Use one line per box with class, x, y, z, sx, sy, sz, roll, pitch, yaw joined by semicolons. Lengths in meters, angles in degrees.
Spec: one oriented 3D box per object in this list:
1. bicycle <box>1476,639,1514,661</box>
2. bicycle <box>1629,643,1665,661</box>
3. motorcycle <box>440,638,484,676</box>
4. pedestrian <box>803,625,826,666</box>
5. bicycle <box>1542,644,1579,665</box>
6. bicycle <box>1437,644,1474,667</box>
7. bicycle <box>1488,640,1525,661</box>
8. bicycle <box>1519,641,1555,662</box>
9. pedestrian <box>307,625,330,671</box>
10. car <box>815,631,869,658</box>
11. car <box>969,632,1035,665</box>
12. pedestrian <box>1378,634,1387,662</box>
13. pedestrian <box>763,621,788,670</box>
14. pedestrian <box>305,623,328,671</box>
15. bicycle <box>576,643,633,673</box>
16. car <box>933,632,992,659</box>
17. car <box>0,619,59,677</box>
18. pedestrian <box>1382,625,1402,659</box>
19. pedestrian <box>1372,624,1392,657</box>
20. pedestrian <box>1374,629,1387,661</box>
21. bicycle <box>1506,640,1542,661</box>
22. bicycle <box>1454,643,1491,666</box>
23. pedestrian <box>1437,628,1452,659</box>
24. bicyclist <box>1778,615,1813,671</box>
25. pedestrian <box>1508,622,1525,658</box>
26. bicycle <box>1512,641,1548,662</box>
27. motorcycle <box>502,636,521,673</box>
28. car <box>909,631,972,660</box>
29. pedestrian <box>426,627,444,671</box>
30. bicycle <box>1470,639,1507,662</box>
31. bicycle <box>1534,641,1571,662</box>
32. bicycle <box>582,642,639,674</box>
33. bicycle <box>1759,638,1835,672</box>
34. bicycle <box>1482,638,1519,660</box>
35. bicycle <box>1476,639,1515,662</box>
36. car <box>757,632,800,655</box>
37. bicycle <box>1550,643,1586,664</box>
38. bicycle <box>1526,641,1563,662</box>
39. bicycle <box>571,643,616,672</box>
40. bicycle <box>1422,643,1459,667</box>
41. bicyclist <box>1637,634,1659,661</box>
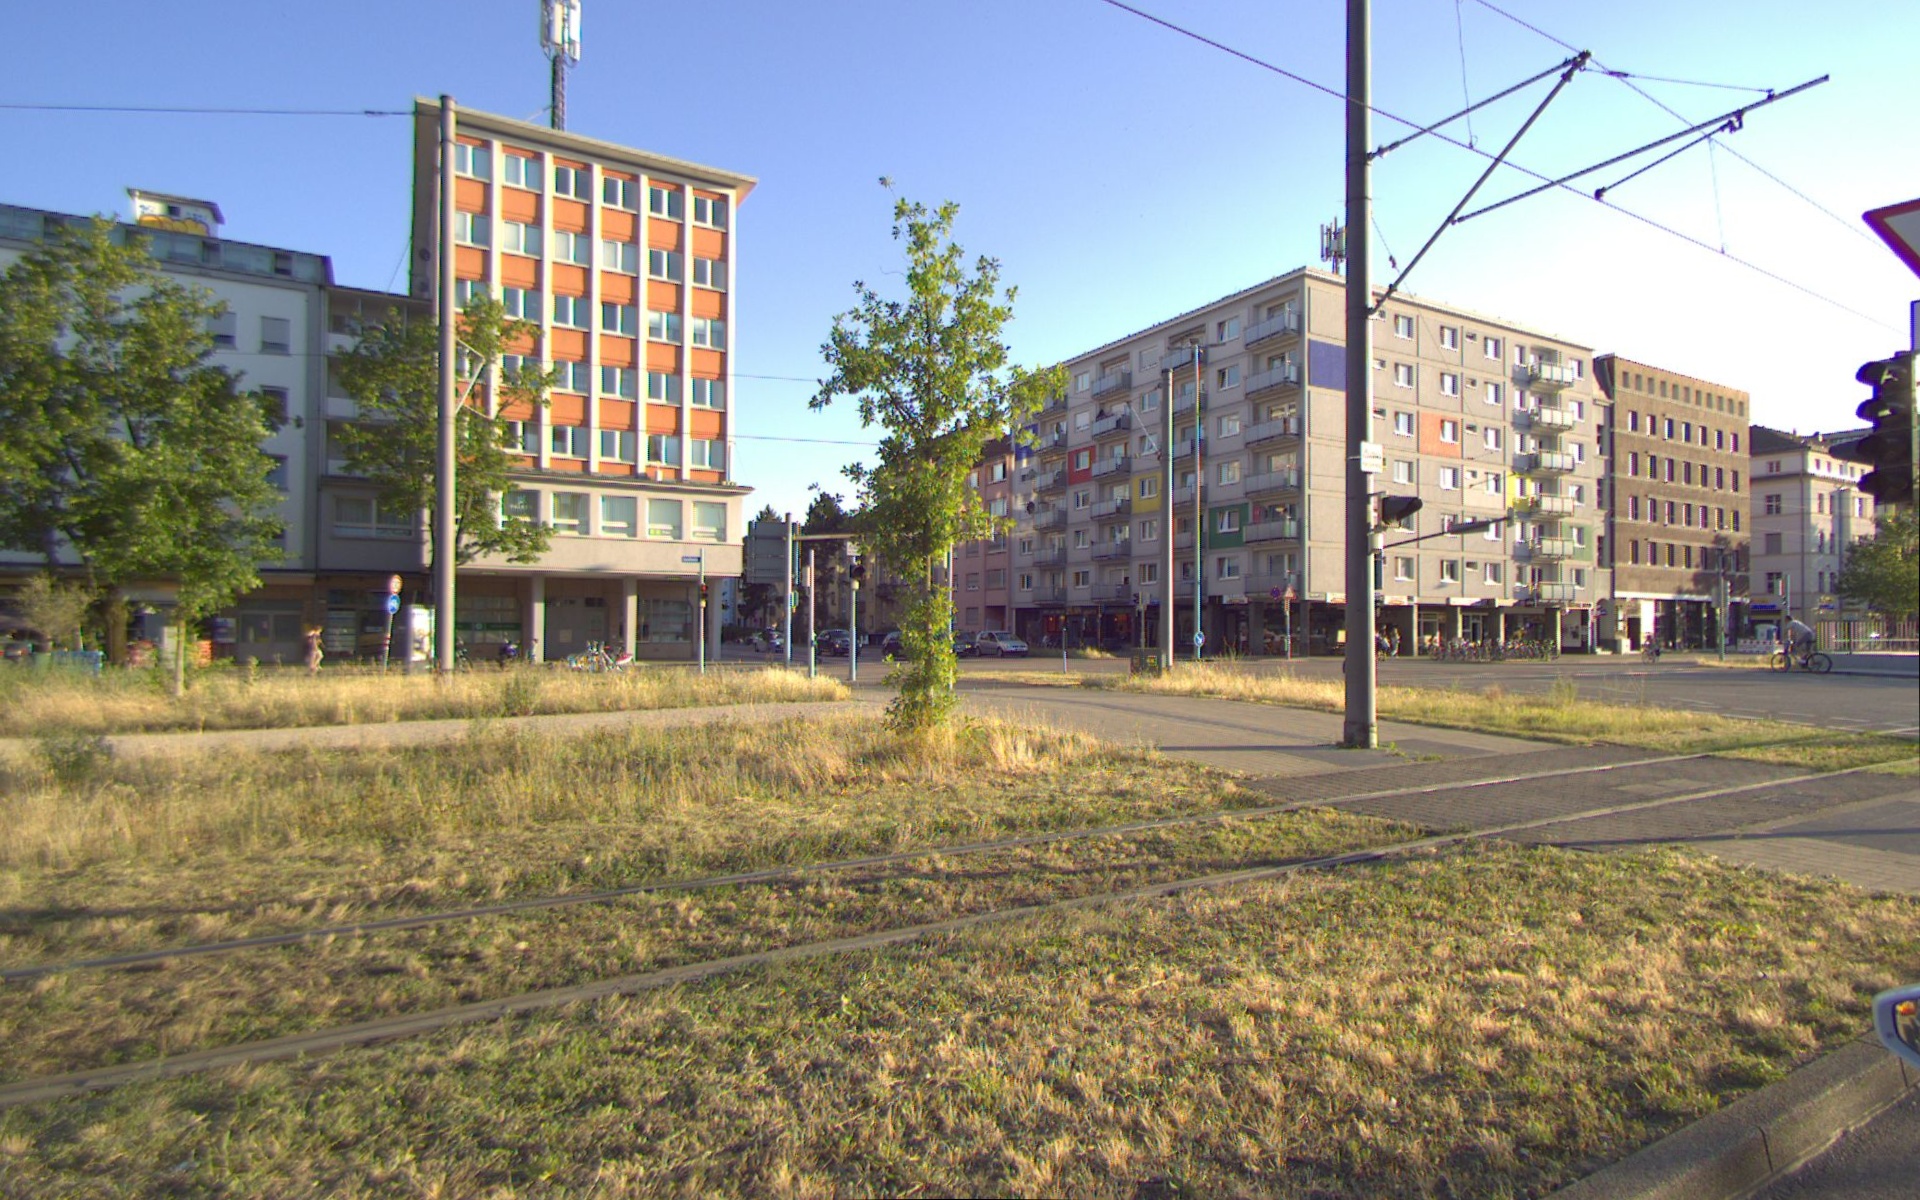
bicycle;29.675;2.742;55.775;0.632;1.176;1.823;1;-2;-29
bicycle;37.054;2.814;54.169;1.636;0.957;0.509;0;-1;-4
motorcycle;-17.791;2.023;35.869;1.373;1.335;0.378;1;-1;-28
pedestrian;-6.727;2.090;46.481;0.879;1.855;0.885;1;-1;-20
bicycle;34.548;3.136;57.816;0.739;1.185;1.684;1;-1;-28
bicycle;26.814;3.004;54.333;0.601;1.157;1.768;1;-2;-29
bicycle;30.740;2.820;56.517;0.598;1.151;1.763;1;-2;-29
bicycle;32.608;2.882;56.798;0.626;1.139;1.720;2;-2;-28
pedestrian;-24.998;1.848;39.122;0.690;1.774;0.646;1;-1;-30
car;-7.263;2.676;61.471;1.975;1.551;3.971;1;-1;-28
car;2.303;2.651;55.548;1.974;1.506;3.973;2;1;-26
pedestrian;21.783;2.473;51.796;0.376;1.401;0.394;0;-1;32
pedestrian;-7.565;1.863;41.095;0.708;1.972;0.720;-1;-2;43
pedestrian;-24.685;1.807;38.556;0.696;1.816;0.590;1;-1;-30
bicycle;-13.270;2.147;37.506;1.972;1.089;0.465;1;-1;-31
car;0.107;2.671;59.710;1.974;1.505;3.974;1;-2;-26
car;-30.090;1.418;30.234;3.927;1.706;1.997;1;-1;-9
pedestrian;24.232;2.358;56.283;0.728;1.866;0.780;1;-2;-38
pedestrian;24.023;2.310;57.243;0.715;1.837;0.820;1;-1;-40
pedestrian;21.471;2.285;51.325;0.563;1.641;0.602;0;-1;29
bicycle;31.543;2.833;56.233;0.545;1.132;1.747;1;-1;-29
bicycle;27.627;2.935;54.131;0.592;1.154;1.749;1;-1;-29
pedestrian;26.861;2.428;55.674;0.541;1.706;0.575;1;-2;-36
bicyclist;27.711;1.412;33.319;0.641;1.842;0.786;1;-2;-42
pedestrian;34.523;2.493;62.348;0.783;2.207;0.599;1;-1;-30
bicycle;32.048;2.882;56.516;0.561;1.134;1.753;1;-1;-29
motorcycle;-17.012;2.036;38.057;0.538;1.335;1.823;1;-1;-27
car;-1.128;2.522;55.799;1.974;1.505;3.974;2;-2;-26
pedestrian;-21.962;2.049;42.013;0.623;1.792;0.593;1;-1;-30
bicycle;28.713;2.748;54.577;0.561;1.197;1.761;1;-1;-29
bicycle;33.871;2.939;57.465;0.739;1.194;1.684;1;-1;-28
bicycle;-12.572;2.073;36.122;1.885;1.089;0.465;1;-1;-31
bicycle;27.730;1.809;33.307;0.627;1.089;1.884;1;-2;-42
bicycle;30.191;2.751;56.148;0.598;1.174;1.768;1;-2;-29
bicycle;29.260;2.748;54.905;0.644;1.206;1.780;1;-2;-30
car;-13.065;3.082;72.144;1.975;1.551;3.971;1;-2;-28
bicycle;35.190;3.108;58.149;0.688;1.159;1.684;1;-1;-28
bicycle;33.214;2.935;57.106;0.696;1.168;1.684;1;-1;-28
bicycle;-14.044;2.197;38.508;1.543;1.089;0.392;1;-1;-31
bicycle;25.809;2.925;53.951;0.631;1.224;1.786;1;-2;-30
bicyclist;37.086;2.534;54.177;0.841;1.445;0.501;0;-1;-3
